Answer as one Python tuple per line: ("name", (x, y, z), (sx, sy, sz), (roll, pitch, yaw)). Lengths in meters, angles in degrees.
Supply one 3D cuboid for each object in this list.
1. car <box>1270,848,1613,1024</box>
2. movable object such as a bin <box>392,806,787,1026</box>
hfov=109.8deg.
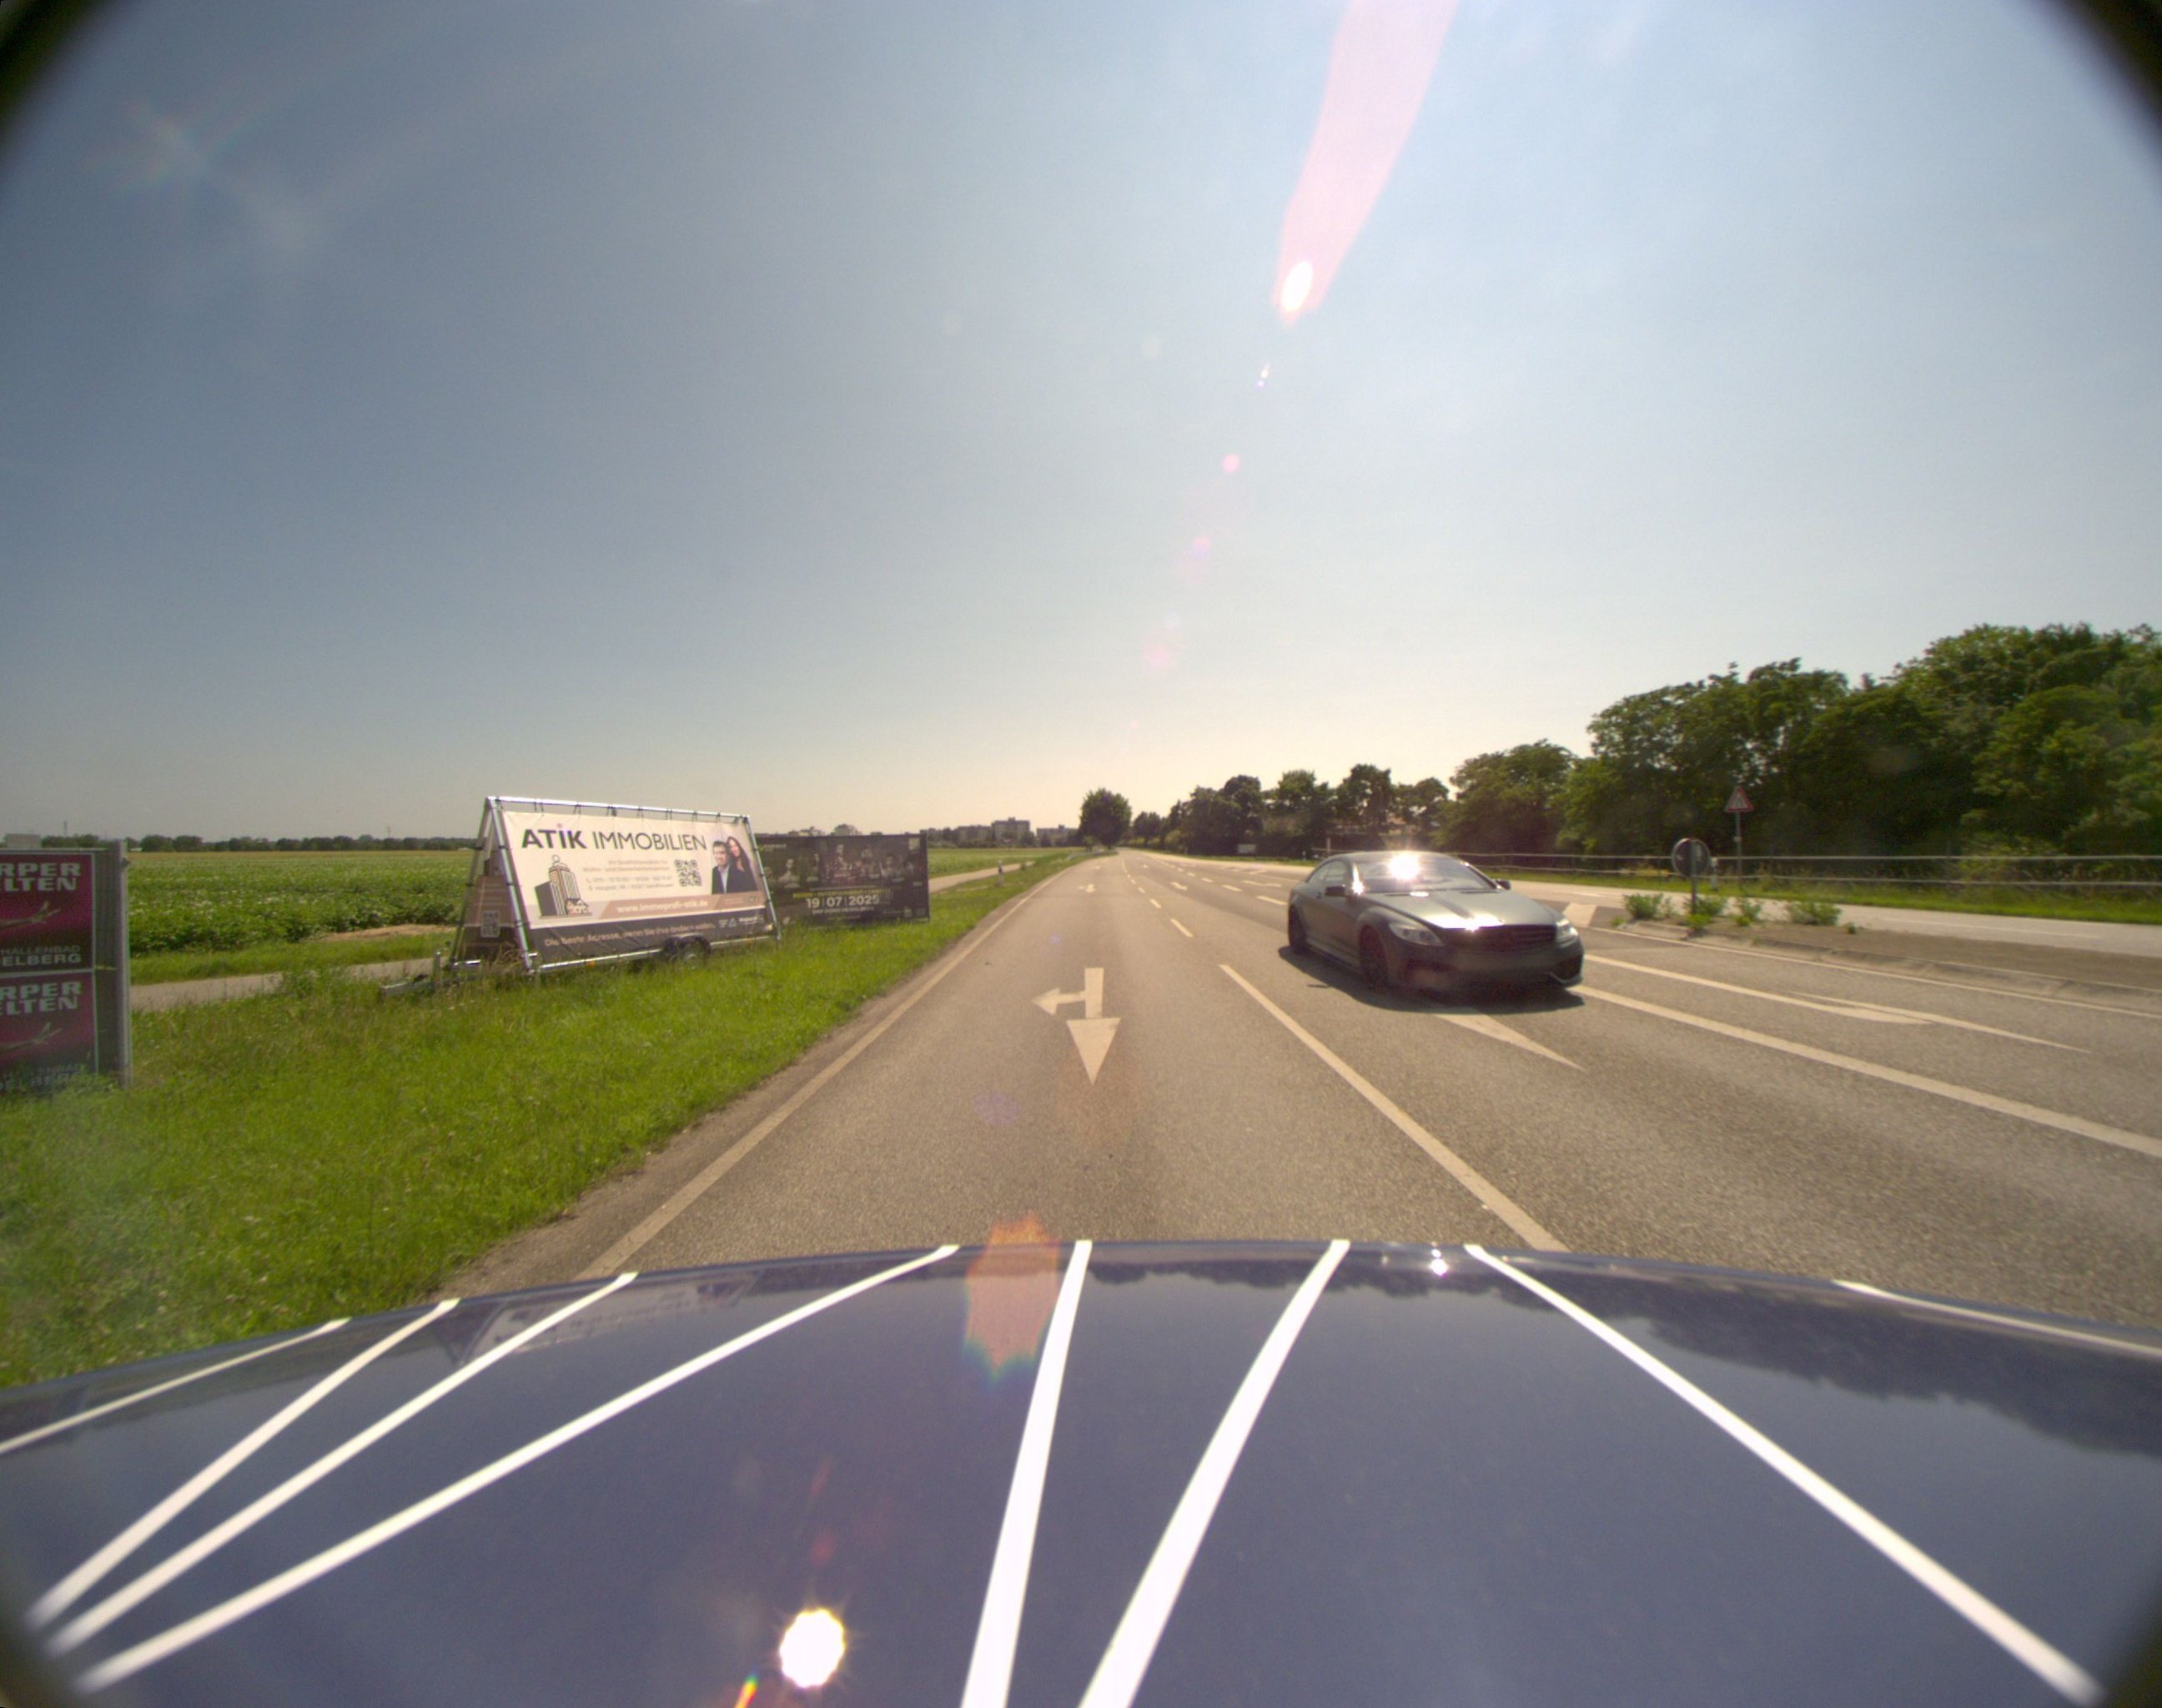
("car", (3.782, 0.701, 9.118), (1.815, 1.441, 4.876), (-2, 1, 1))
("movable object such as a bin", (-6.252, 0.599, 10.425), (1.523, 2.349, 4.429), (-1, 2, 19))
